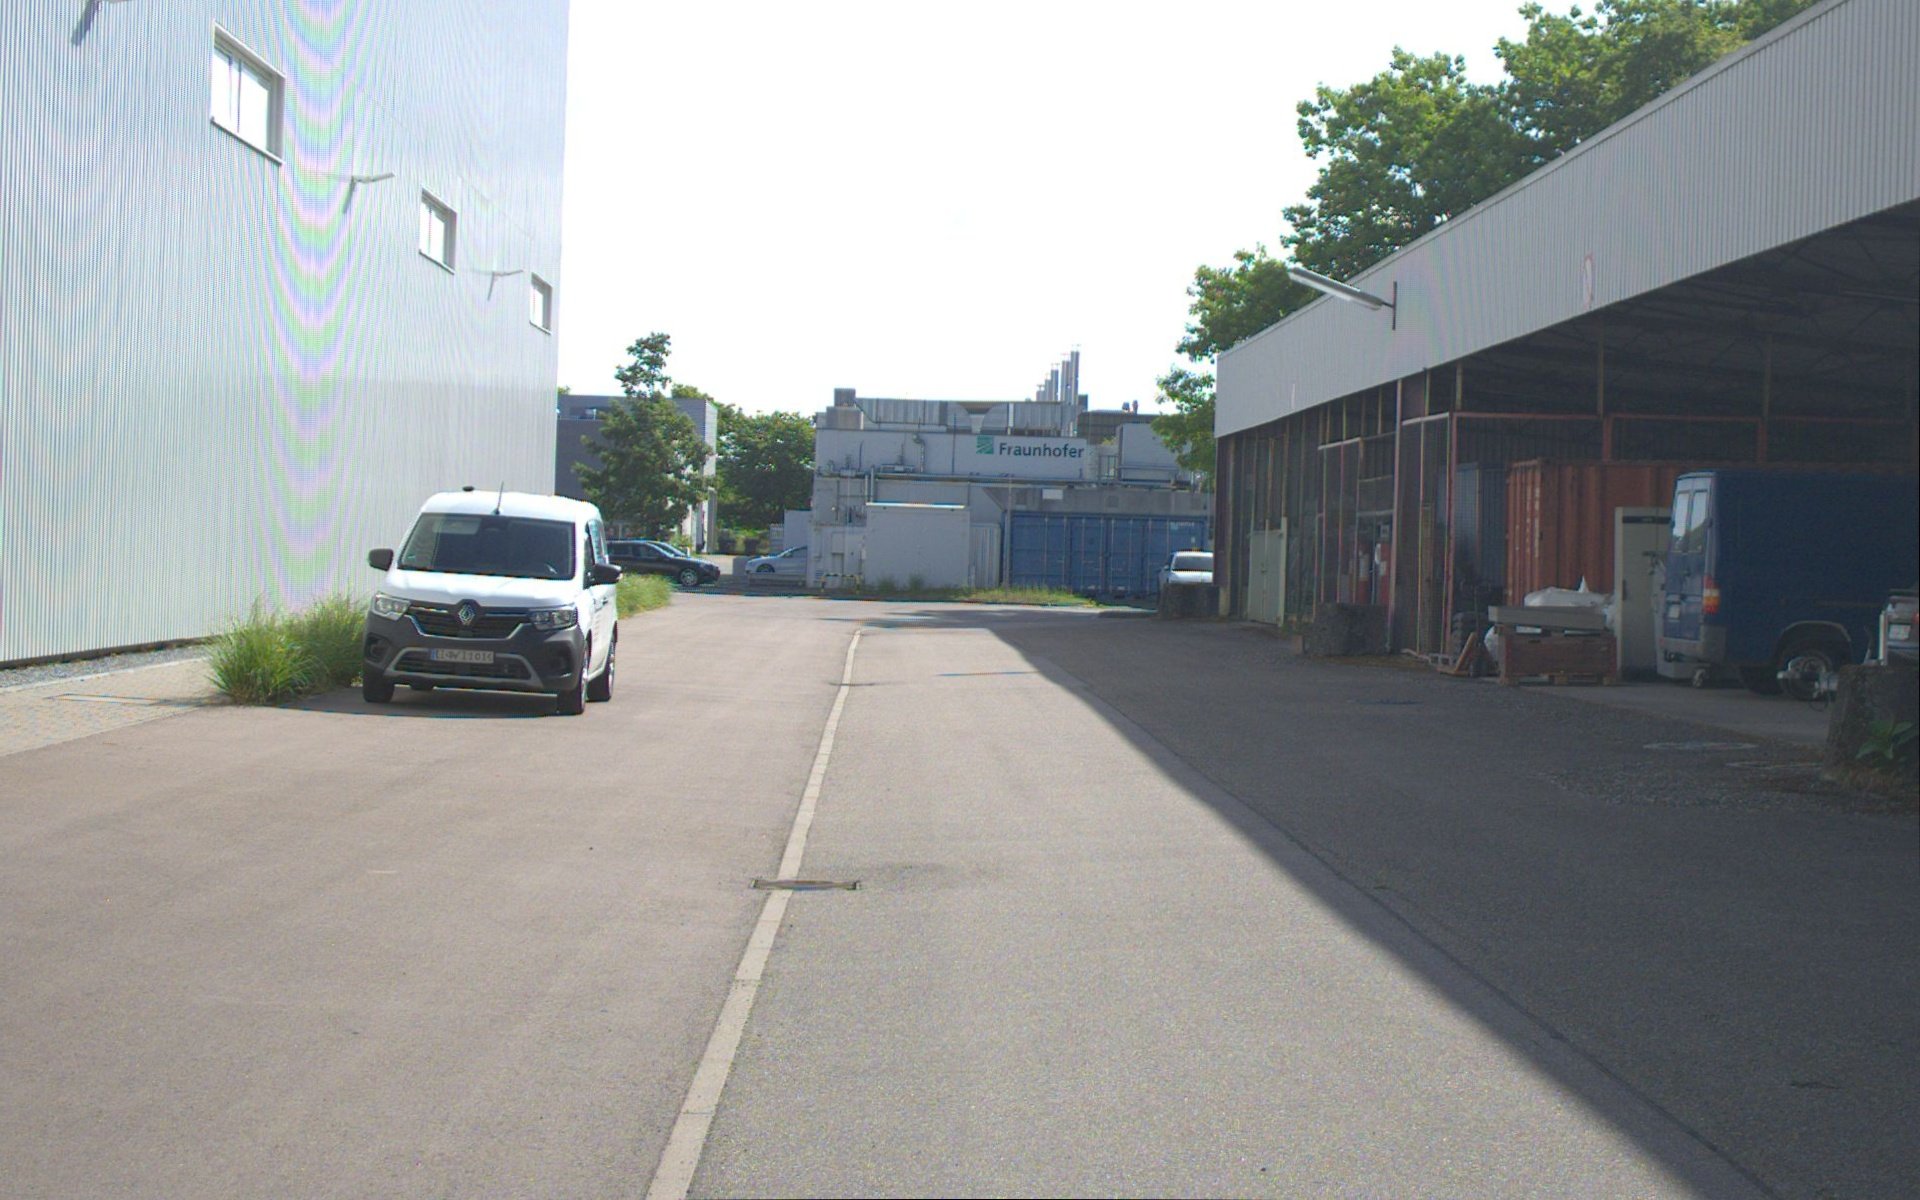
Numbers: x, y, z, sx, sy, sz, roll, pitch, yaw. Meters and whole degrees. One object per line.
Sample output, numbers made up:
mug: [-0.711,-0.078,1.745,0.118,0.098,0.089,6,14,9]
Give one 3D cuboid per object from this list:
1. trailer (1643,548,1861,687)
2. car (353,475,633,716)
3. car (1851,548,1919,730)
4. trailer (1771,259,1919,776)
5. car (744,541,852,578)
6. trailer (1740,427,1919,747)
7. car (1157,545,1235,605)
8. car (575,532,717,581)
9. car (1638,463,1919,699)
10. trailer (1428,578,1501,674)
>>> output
trailer: [8.613,0.173,37.523,2.038,1.461,1.738,0,1,3]
car: [-3.916,-0.056,29.529,1.783,1.809,4.602,3,0,-1]
car: [9.839,0.345,28.687,4.247,1.466,1.870,1,1,-4]
trailer: [11.056,-0.529,23.637,10.267,3.331,2.801,0,1,0]
car: [-6.550,-1.629,139.350,4.302,1.452,1.824,1,0,-1]
trailer: [8.424,-0.094,26.105,4.516,2.334,2.047,0,0,0]
car: [6.782,-0.747,99.182,1.979,1.597,4.377,0,2,0]
car: [-10.161,-1.420,111.401,4.447,1.526,1.824,1,0,-1]
car: [9.800,-0.160,34.921,5.332,2.273,2.153,1,0,-2]
trailer: [5.953,0.297,40.598,0.551,1.114,1.547,0,0,-3]
